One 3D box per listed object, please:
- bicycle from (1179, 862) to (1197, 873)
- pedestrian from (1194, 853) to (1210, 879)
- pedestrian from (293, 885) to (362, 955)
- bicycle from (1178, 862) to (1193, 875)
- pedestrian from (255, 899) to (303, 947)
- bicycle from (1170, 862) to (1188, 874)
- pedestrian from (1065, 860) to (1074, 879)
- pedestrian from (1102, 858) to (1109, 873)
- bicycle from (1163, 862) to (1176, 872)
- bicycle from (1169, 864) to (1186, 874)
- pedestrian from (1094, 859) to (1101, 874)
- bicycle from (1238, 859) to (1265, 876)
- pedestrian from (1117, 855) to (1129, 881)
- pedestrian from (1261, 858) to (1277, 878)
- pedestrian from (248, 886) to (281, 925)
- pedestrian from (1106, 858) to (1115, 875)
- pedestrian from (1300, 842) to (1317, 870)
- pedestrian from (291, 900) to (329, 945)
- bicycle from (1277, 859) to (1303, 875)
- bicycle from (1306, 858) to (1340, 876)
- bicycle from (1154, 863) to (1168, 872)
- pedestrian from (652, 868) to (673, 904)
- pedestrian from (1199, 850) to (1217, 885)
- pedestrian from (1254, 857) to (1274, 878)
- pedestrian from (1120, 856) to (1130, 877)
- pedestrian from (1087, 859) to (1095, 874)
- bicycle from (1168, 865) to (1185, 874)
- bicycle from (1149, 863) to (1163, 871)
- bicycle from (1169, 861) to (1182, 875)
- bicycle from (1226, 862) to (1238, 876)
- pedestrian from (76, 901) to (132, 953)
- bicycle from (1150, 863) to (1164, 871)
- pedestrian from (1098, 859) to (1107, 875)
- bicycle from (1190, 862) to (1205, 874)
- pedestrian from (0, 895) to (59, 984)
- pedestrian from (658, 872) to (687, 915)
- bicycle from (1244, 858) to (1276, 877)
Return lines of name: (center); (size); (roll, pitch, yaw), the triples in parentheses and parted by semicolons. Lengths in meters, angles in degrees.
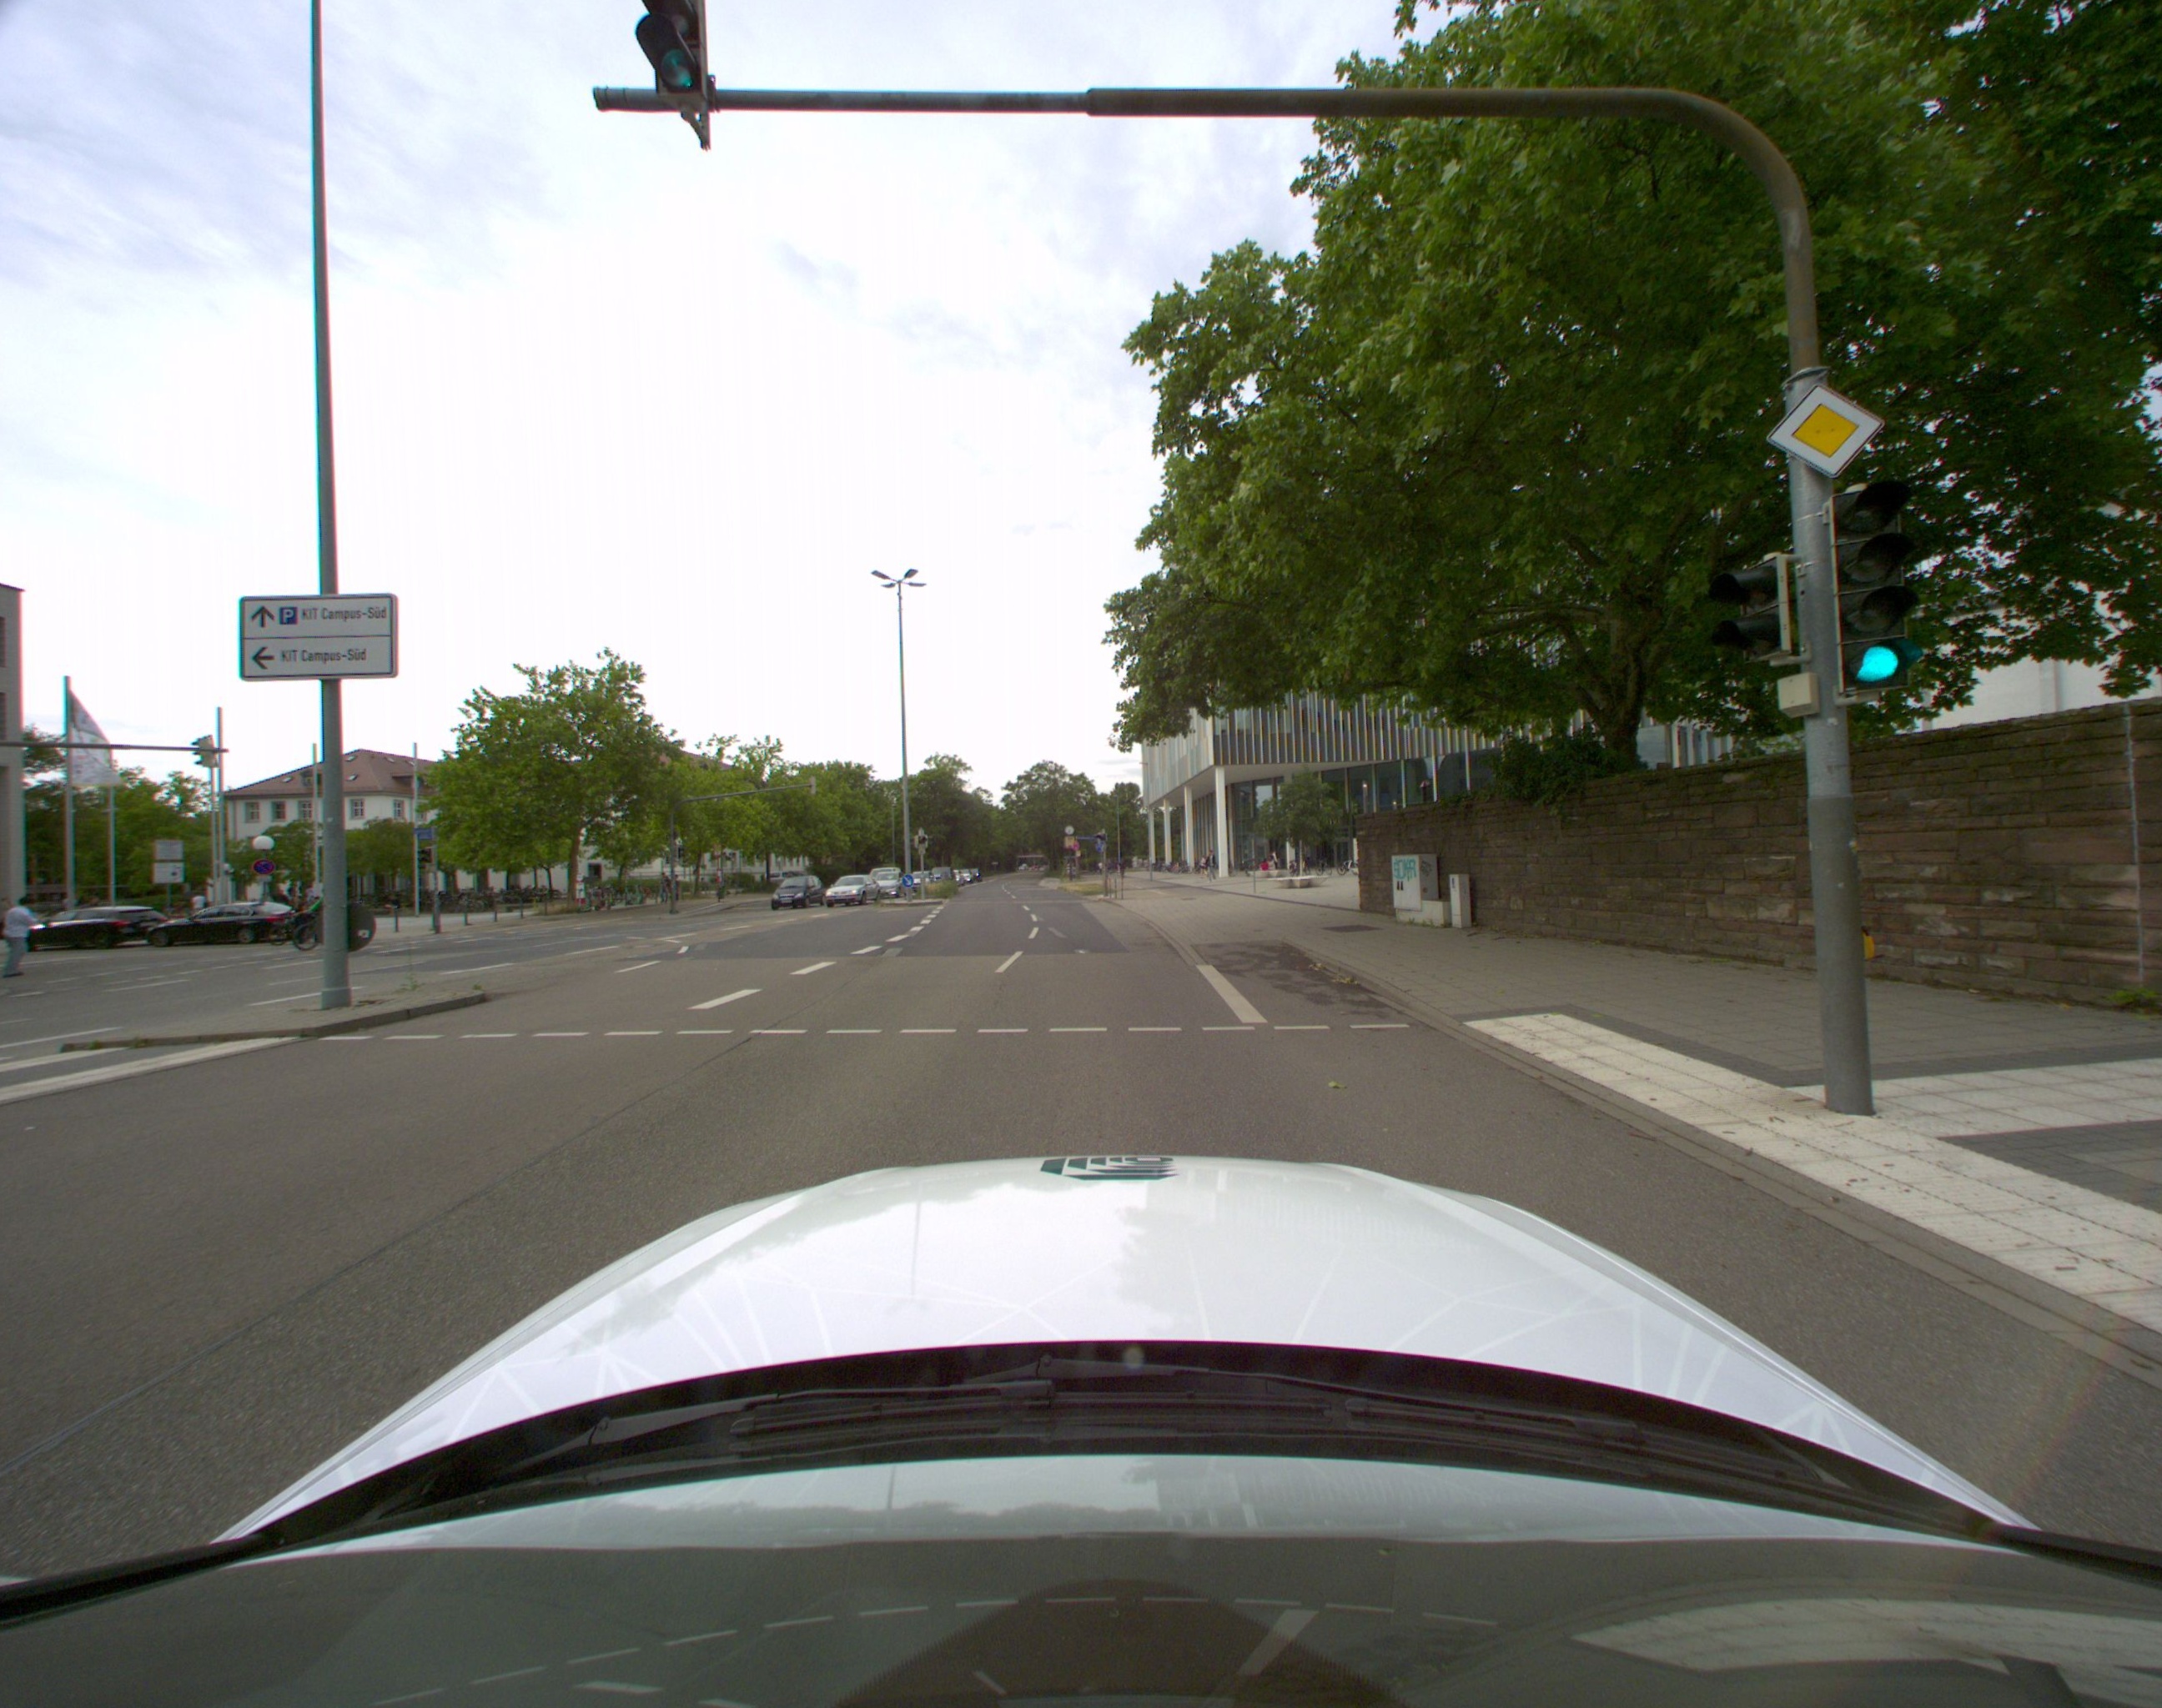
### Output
bicycle: (10.198, 1.288, 77.728); (1.597, 0.936, 0.570); (-5, 0, 8)
pedestrian: (8.691, 0.846, 58.566); (0.843, 1.836, 0.891); (-2, -1, -12)
pedestrian: (-23.002, 1.977, 24.892); (1.185, 2.014, 1.134); (0, -1, -22)
bicycle: (9.246, 1.306, 72.207); (0.608, 1.080, 1.954); (-4, 0, -13)
pedestrian: (-27.174, 2.323, 27.601); (0.825, 1.513, 0.968); (0, -1, -22)
bicycle: (9.560, 1.350, 79.183); (1.602, 0.982, 0.556); (-5, -1, -2)
pedestrian: (-1.270, 1.726, 90.548); (0.910, 2.013, 0.853); (-4, 1, -3)
pedestrian: (3.355, 1.640, 112.640); (0.822, 2.014, 0.719); (-3, -1, -3)
bicycle: (9.256, 1.365, 85.490); (1.279, 0.875, 0.556); (-3, -1, -2)
bicycle: (10.003, 1.566, 84.427); (1.602, 0.896, 0.366); (-3, -1, -2)
pedestrian: (2.252, 1.726, 112.598); (0.823, 2.014, 0.718); (-2, -1, -7)
bicycle: (12.130, 0.979, 57.929); (0.727, 1.115, 2.196); (-3, -1, 45)
pedestrian: (3.414, 1.150, 66.408); (0.840, 2.013, 0.894); (-4, -1, -1)
pedestrian: (11.573, 0.879, 50.193); (0.885, 1.193, 0.848); (-3, -1, 12)
pedestrian: (-44.041, 2.746, 43.951); (0.795, 2.014, 1.090); (-2, -1, -19)
pedestrian: (3.710, 1.594, 103.306); (0.924, 2.014, 1.037); (-2, -1, -7)
pedestrian: (17.525, 0.161, 62.739); (1.173, 2.062, 1.139); (-1, -1, 13)
pedestrian: (-26.326, 2.320, 27.826); (0.702, 1.428, 0.991); (0, -1, -30)
bicycle: (14.049, 0.856, 54.671); (1.971, 1.002, 0.765); (-2, -1, -44)
bicycle: (15.606, 0.830, 52.477); (2.200, 1.006, 0.774); (-2, -1, -32)
bicycle: (9.483, 1.601, 96.428); (1.602, 0.875, 0.556); (-3, -1, -2)
pedestrian: (-23.926, 1.832, 46.572); (0.801, 2.014, 0.923); (0, -1, -9)
pedestrian: (7.506, 0.804, 48.143); (0.840, 2.014, 0.894); (-2, -1, -1)
pedestrian: (11.142, 0.828, 49.578); (0.834, 1.206, 0.900); (-3, -1, 32)
pedestrian: (4.207, 1.199, 78.223); (0.841, 2.014, 0.893); (-2, -1, -3)
pedestrian: (1.322, 1.787, 112.544); (0.924, 2.014, 1.037); (-2, -1, -7)
bicycle: (9.604, 1.536, 82.108); (1.602, 0.875, 0.556); (-3, -1, -2)
bicycle: (9.072, 1.621, 98.616); (1.602, 0.875, 0.556); (-4, -1, -2)
bicycle: (8.659, 1.299, 74.986); (0.635, 1.140, 2.196); (-5, -1, -6)
bicycle: (11.107, 1.094, 60.030); (0.636, 1.061, 1.841); (-1, -1, 3)
pedestrian: (-40.124, 2.972, 33.461); (1.000, 2.014, 1.016); (-2, -1, -3)
bicycle: (9.230, 1.615, 99.209); (1.602, 0.875, 0.556); (-3, -1, -2)
pedestrian: (2.761, 1.616, 103.141); (0.924, 2.014, 1.037); (-2, -1, -7)
bicycle: (10.021, 1.223, 70.107); (1.496, 0.929, 0.435); (-3, 1, -41)
pedestrian: (-25.220, 2.011, 19.383); (0.664, 2.059, 0.852); (-1, -2, -2)
pedestrian: (-19.686, 1.904, 39.271); (0.892, 2.014, 1.008); (-2, -1, -4)
bicycle: (12.439, 0.951, 56.541); (2.736, 1.188, 0.765); (-2, -1, -44)
